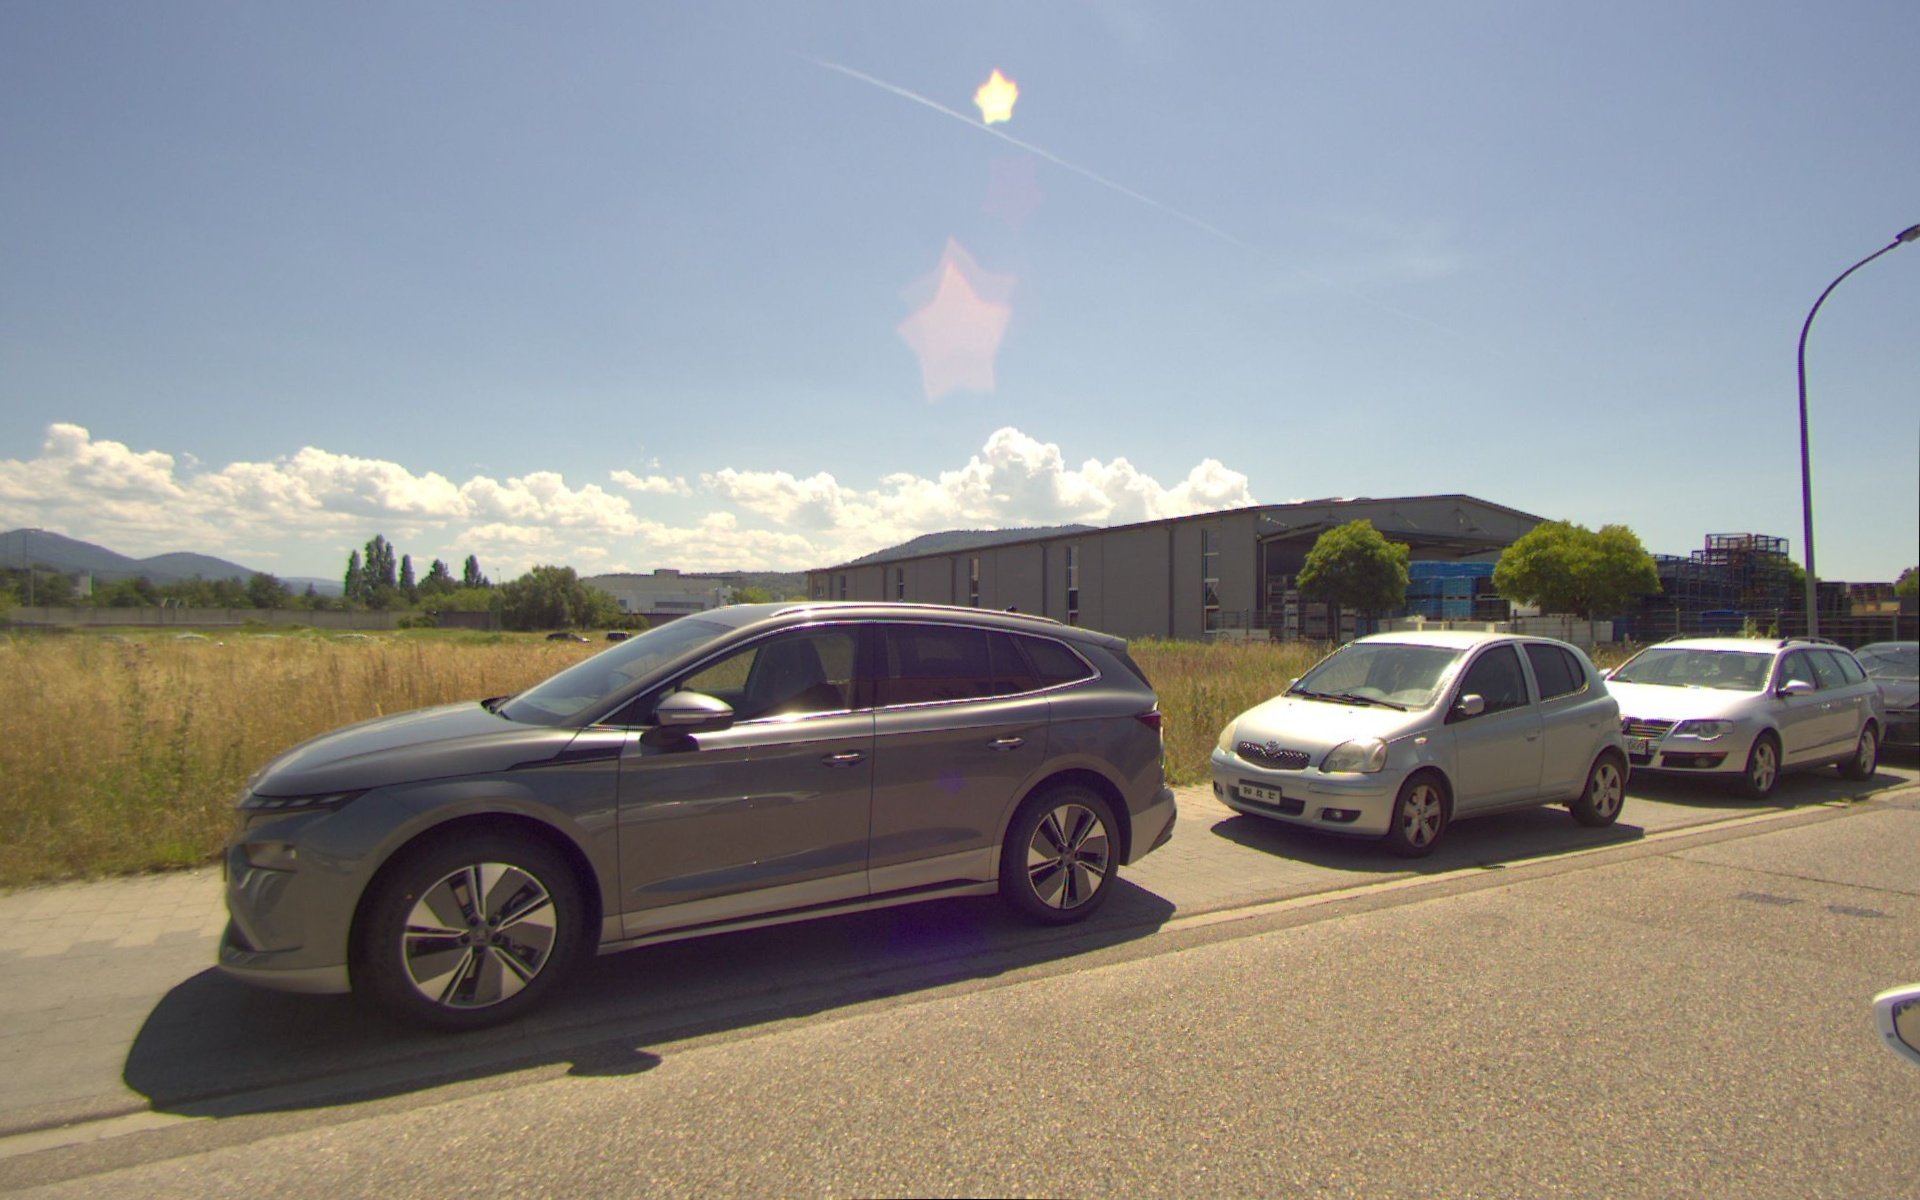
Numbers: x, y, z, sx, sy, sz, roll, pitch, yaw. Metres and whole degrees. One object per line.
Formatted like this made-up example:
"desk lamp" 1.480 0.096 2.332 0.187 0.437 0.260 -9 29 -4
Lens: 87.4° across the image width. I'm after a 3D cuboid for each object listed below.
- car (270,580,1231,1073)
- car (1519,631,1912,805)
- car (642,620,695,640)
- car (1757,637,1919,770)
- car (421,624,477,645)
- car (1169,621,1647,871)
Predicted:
"car" -0.827 0.806 5.241 4.412 1.628 1.781 2 -1 -31
"car" 8.275 1.125 10.875 4.761 1.500 1.766 2 -1 -31
"car" -29.657 3.055 102.154 4.864 2.040 1.984 2 -2 -31
"car" 12.656 1.285 13.366 4.180 1.500 1.848 2 -1 -30
"car" -51.518 3.486 101.247 4.864 2.040 1.984 2 -2 -31
"car" 3.633 0.981 8.020 3.692 1.545 1.685 2 -1 -31
